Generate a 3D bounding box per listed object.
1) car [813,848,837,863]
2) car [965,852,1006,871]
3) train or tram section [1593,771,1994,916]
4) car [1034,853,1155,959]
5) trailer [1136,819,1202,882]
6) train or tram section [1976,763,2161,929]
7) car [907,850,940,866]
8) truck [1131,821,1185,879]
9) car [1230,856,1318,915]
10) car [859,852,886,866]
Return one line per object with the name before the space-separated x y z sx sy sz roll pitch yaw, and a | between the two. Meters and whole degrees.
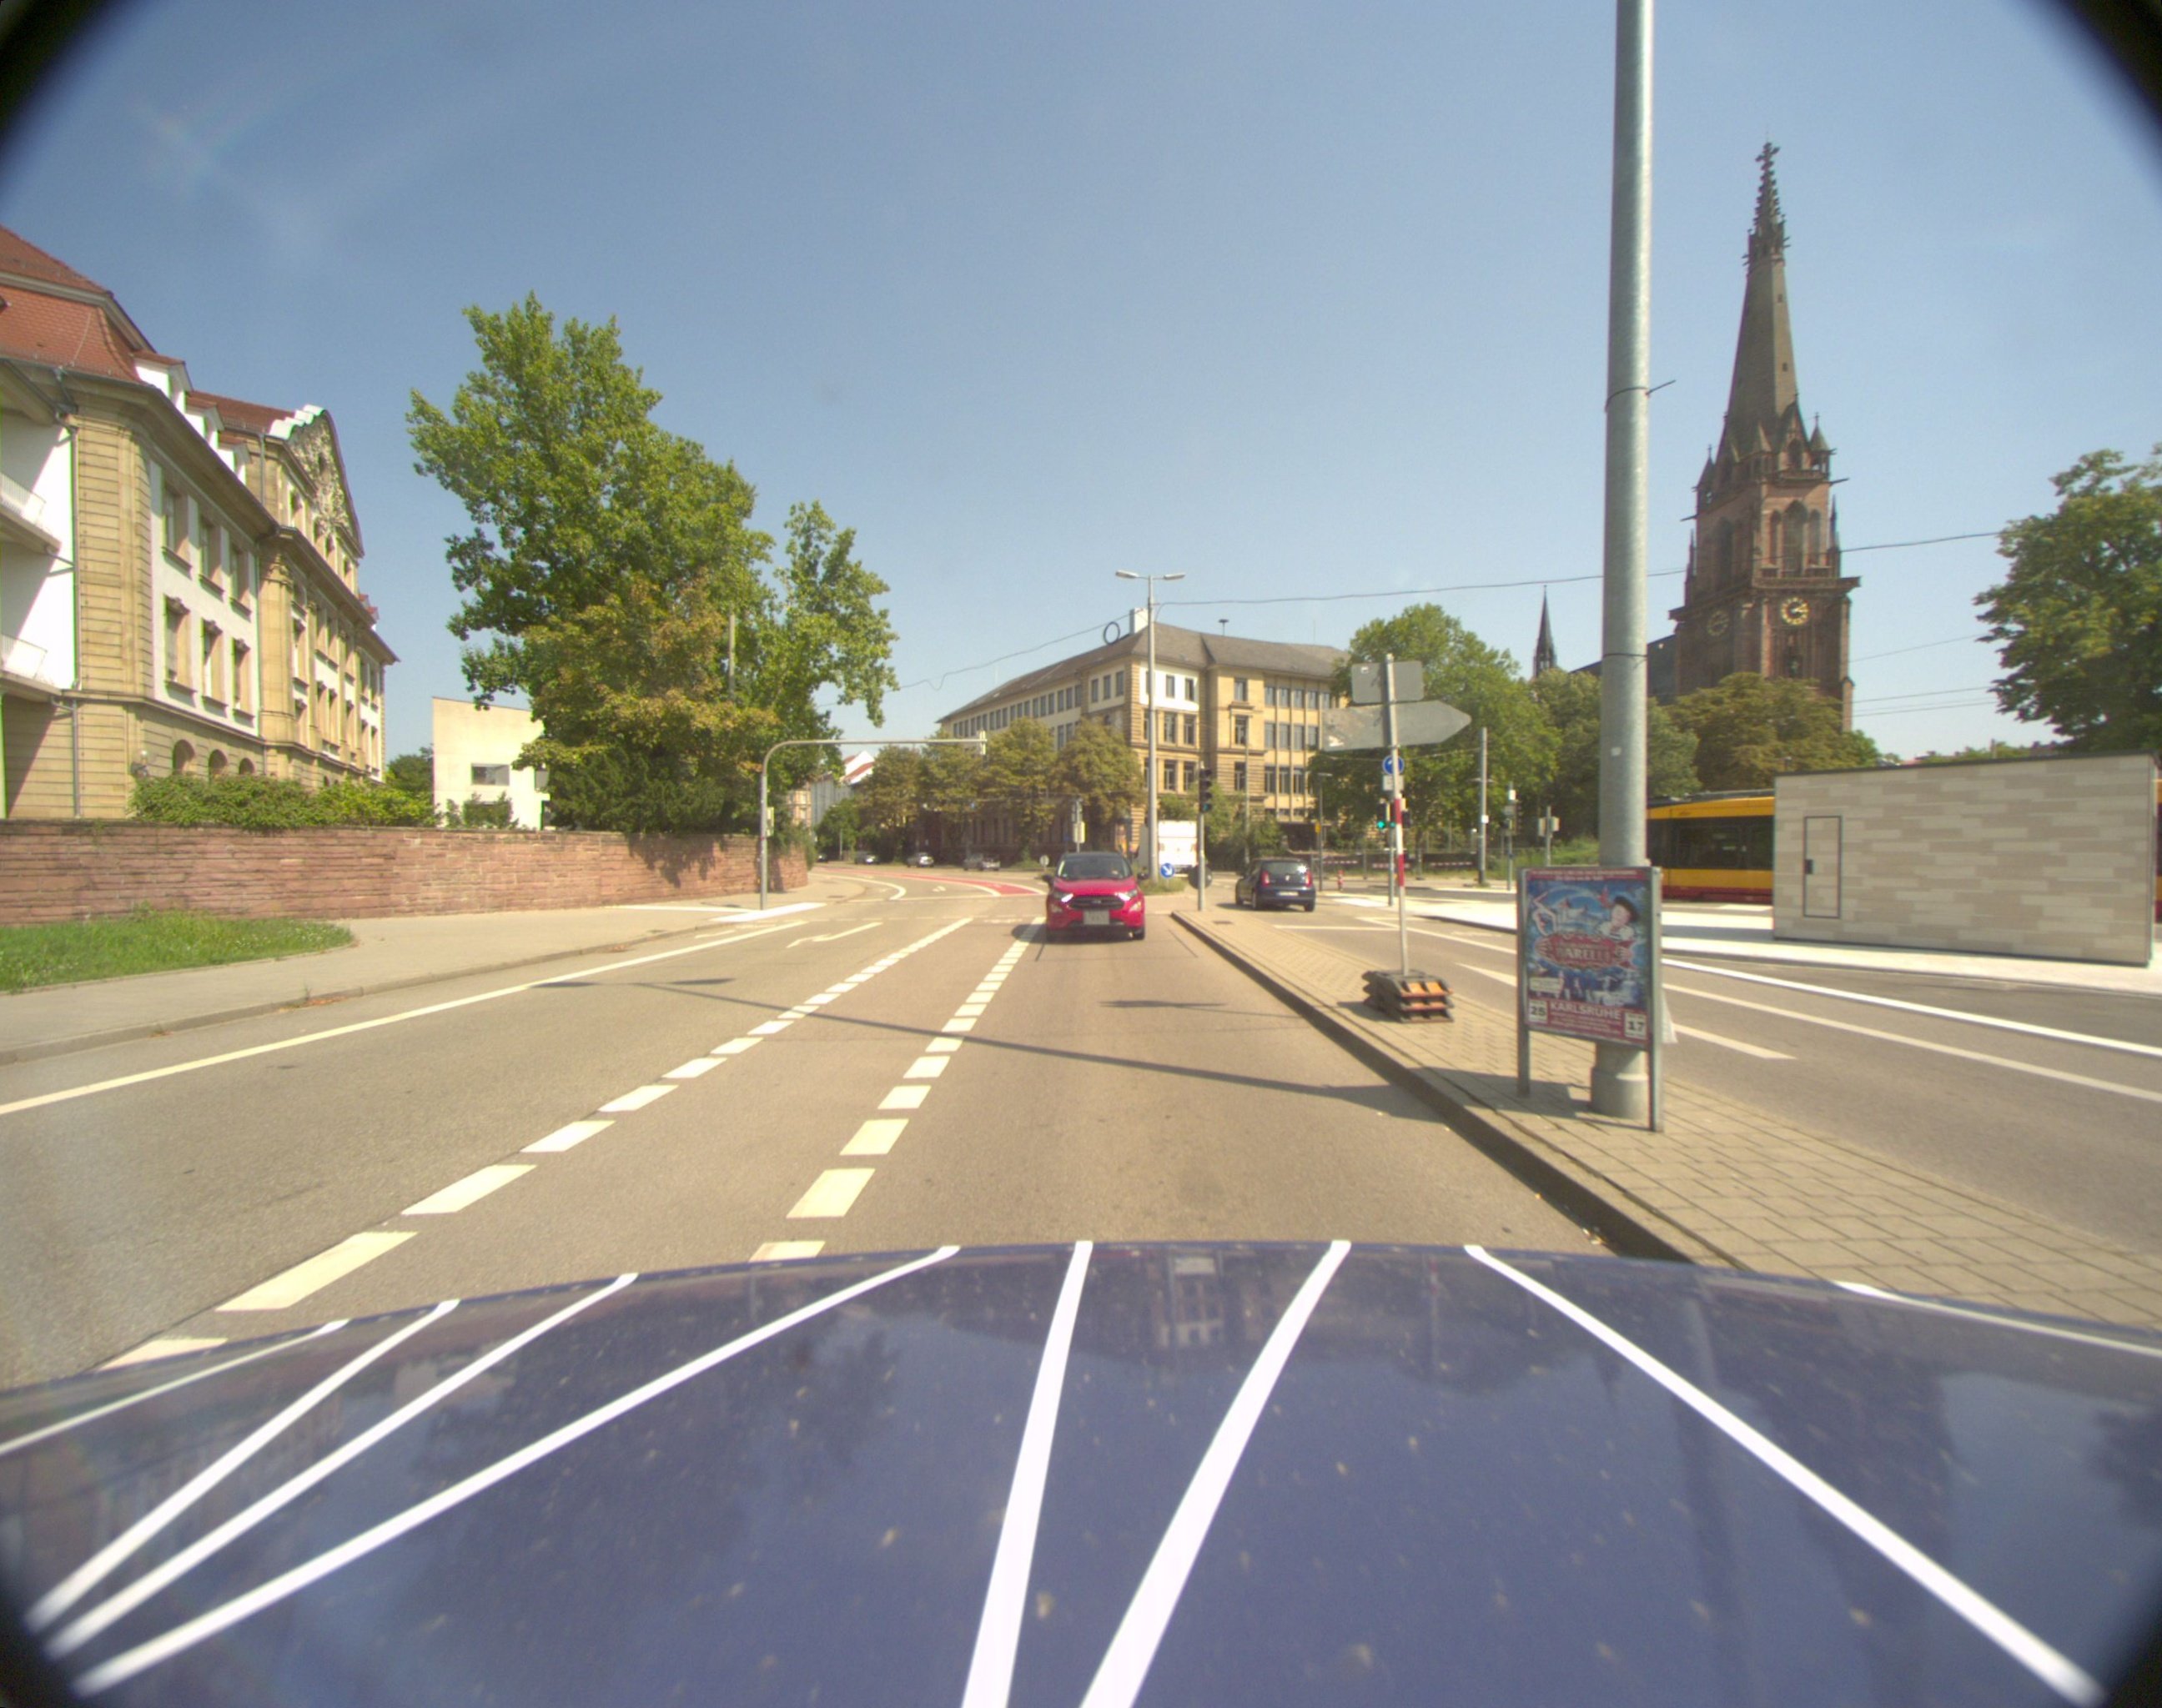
car | -36.343 0.228 107.898 2.309 2.147 4.218 0 0 -33
car | -8.306 0.591 65.570 1.891 1.586 3.989 0 0 -34
train or tram section | 20.755 -0.198 22.836 3.144 3.539 8.307 1 -1 -35
car | 0.232 0.819 13.932 1.844 1.605 4.000 -2 0 0
trailer | 4.808 -0.223 42.224 2.442 3.269 5.084 0 1 -8
train or tram section | 25.514 -0.167 15.894 3.168 3.576 8.504 1 -1 -34
car | -16.045 0.390 77.275 2.004 1.660 3.989 0 0 -33
truck | 4.453 -0.259 44.593 2.430 3.269 3.424 0 1 -8
car | 5.386 0.824 21.622 1.584 1.489 3.586 1 0 1
car | -25.010 0.637 90.908 2.004 1.630 3.989 0 0 -33
